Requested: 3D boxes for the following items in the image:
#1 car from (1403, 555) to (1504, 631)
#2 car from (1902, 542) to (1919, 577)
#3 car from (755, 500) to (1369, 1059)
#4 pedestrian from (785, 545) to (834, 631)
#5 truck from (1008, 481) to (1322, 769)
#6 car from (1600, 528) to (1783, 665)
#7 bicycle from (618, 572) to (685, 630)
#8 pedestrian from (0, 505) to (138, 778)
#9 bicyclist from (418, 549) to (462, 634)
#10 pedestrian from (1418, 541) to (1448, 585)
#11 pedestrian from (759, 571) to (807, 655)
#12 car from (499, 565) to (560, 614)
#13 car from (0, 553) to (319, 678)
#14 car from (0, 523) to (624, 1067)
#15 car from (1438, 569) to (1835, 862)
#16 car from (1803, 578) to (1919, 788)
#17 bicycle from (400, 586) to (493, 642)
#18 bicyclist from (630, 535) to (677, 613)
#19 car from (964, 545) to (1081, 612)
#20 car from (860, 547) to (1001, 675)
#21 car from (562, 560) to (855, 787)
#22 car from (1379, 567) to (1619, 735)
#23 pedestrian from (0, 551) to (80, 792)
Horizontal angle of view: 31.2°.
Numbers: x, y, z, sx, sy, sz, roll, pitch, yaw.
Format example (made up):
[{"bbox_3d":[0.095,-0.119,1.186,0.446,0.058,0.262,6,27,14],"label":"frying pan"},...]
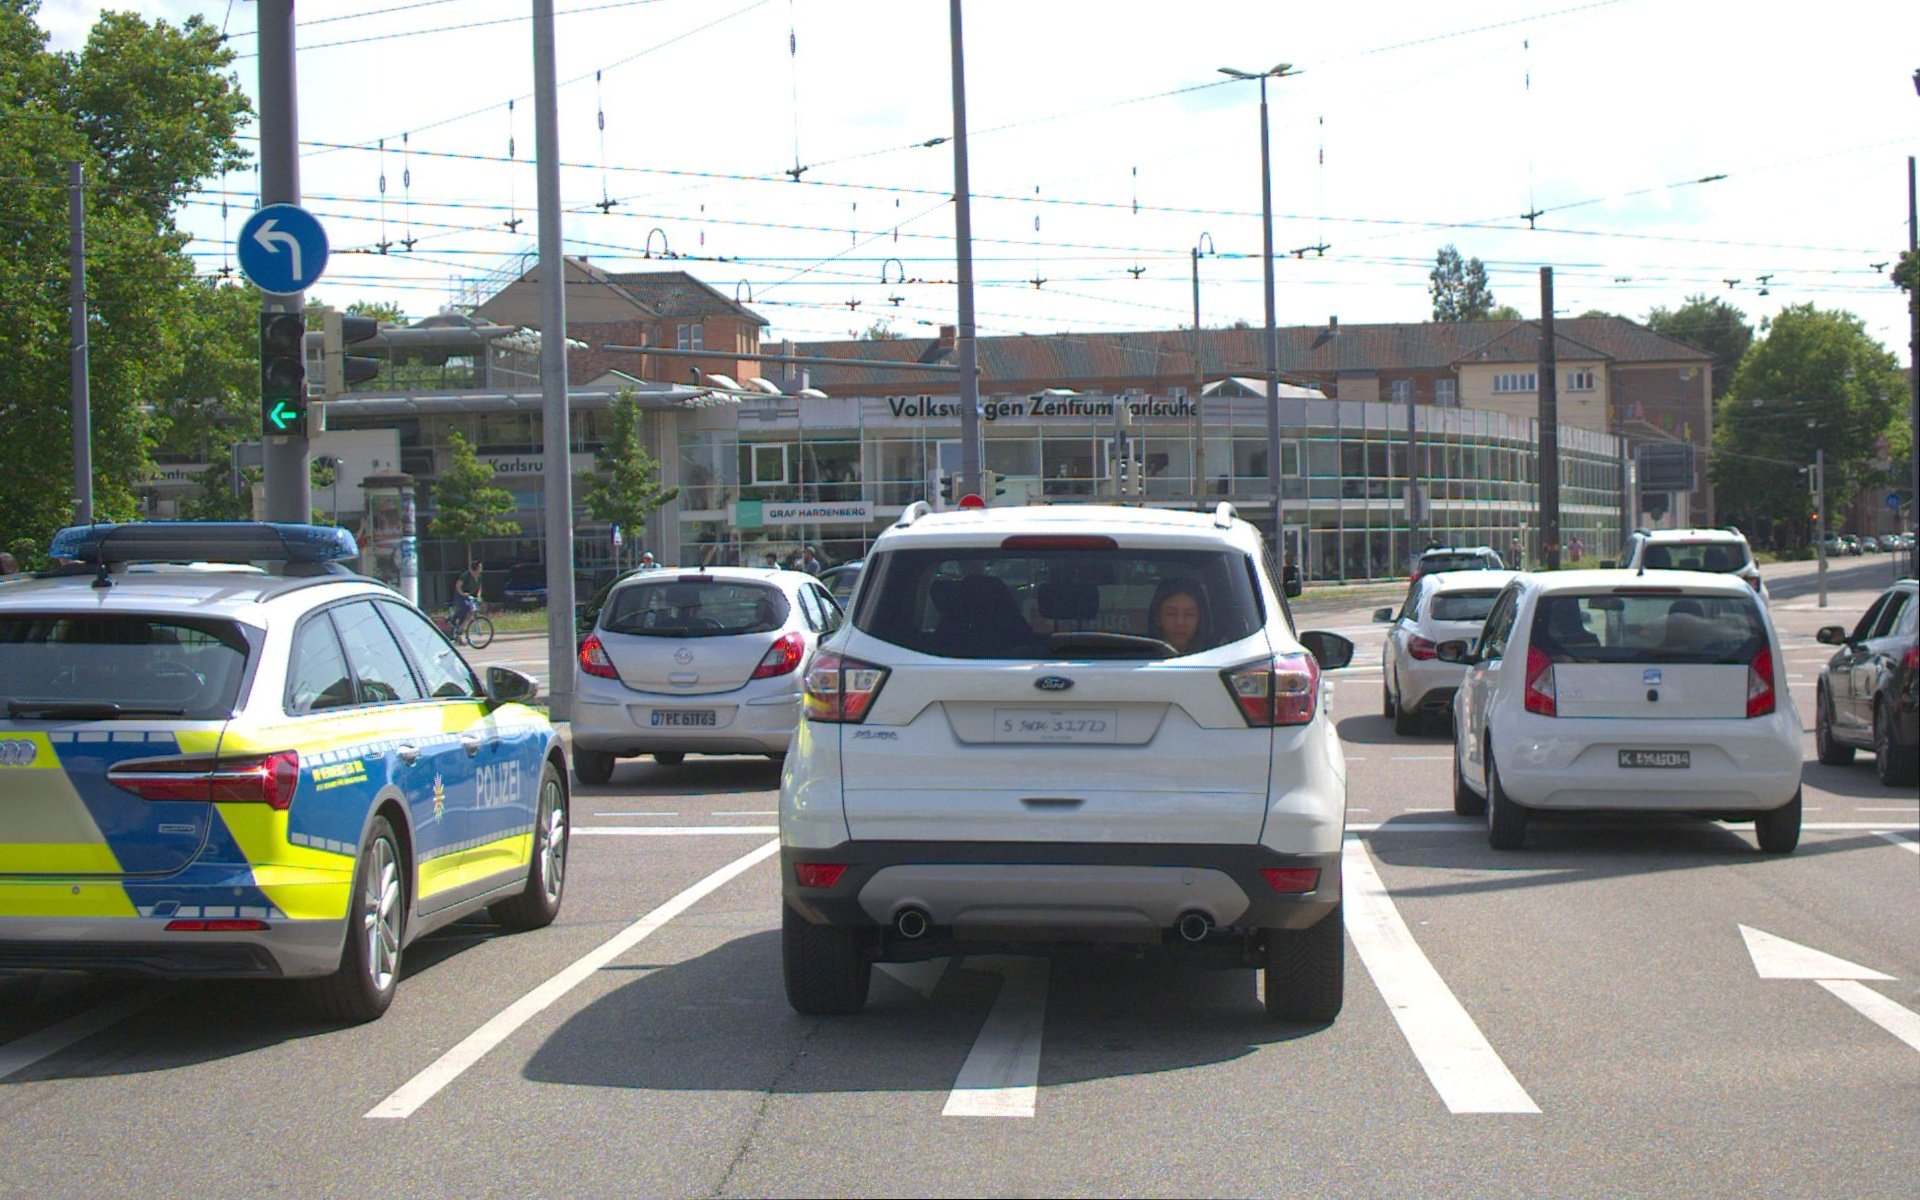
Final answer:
[{"bbox_3d":[9.471,-0.147,66.169,1.850,1.414,3.678,0,0,7],"label":"car"},{"bbox_3d":[45.928,-1.921,163.681,1.838,1.646,3.996,0,0,19],"label":"car"},{"bbox_3d":[0.398,0.516,12.218,1.827,1.658,3.955,0,0,3],"label":"car"},{"bbox_3d":[-3.097,-0.249,70.797,0.924,1.738,0.589,1,0,4],"label":"pedestrian"},{"bbox_3d":[1.837,0.158,28.627,2.339,2.148,5.850,0,1,6],"label":"truck"},{"bbox_3d":[9.175,-0.047,43.394,1.837,1.646,3.999,0,0,6],"label":"car"},{"bbox_3d":[-6.741,0.014,75.203,0.760,1.188,2.149,-2,1,14],"label":"bicycle"},{"bbox_3d":[-6.430,0.293,24.688,0.847,1.910,0.692,-2,0,-1],"label":"pedestrian"},{"bbox_3d":[-10.678,-0.169,70.631,0.660,1.732,0.639,0,1,21],"label":"bicyclist"},{"bbox_3d":[18.782,-1.481,136.532,0.877,1.731,0.874,1,0,35],"label":"pedestrian"},{"bbox_3d":[-3.690,0.263,71.836,0.924,1.738,0.589,1,0,4],"label":"pedestrian"},{"bbox_3d":[-14.583,-0.343,116.697,1.818,1.528,3.917,-3,0,-5],"label":"car"},{"bbox_3d":[-10.777,0.176,45.387,4.534,1.573,2.042,0,1,37],"label":"car"},{"bbox_3d":[-2.520,0.544,12.297,1.880,1.563,4.615,-1,1,4],"label":"car"},{"bbox_3d":[3.718,0.573,19.495,1.649,1.417,4.000,-1,1,3],"label":"car"},{"bbox_3d":[7.180,0.543,24.409,1.699,1.367,4.132,1,0,5],"label":"car"},{"bbox_3d":[-10.545,0.288,70.584,1.780,1.121,0.639,0,1,21],"label":"bicycle"},{"bbox_3d":[-6.716,-0.575,75.323,0.760,1.677,0.760,-2,1,14],"label":"bicyclist"},{"bbox_3d":[1.523,-0.526,82.034,1.690,1.456,3.965,-2,1,17],"label":"car"},{"bbox_3d":[-0.441,0.109,45.970,1.762,1.563,4.527,-1,1,-2],"label":"car"},{"bbox_3d":[-1.710,0.463,24.537,1.848,1.469,4.000,0,0,-1],"label":"car"},{"bbox_3d":[4.752,0.418,30.738,1.850,1.414,3.678,0,0,5],"label":"car"},{"bbox_3d":[-6.643,0.493,23.899,0.847,1.642,0.692,-2,0,-1],"label":"pedestrian"}]
